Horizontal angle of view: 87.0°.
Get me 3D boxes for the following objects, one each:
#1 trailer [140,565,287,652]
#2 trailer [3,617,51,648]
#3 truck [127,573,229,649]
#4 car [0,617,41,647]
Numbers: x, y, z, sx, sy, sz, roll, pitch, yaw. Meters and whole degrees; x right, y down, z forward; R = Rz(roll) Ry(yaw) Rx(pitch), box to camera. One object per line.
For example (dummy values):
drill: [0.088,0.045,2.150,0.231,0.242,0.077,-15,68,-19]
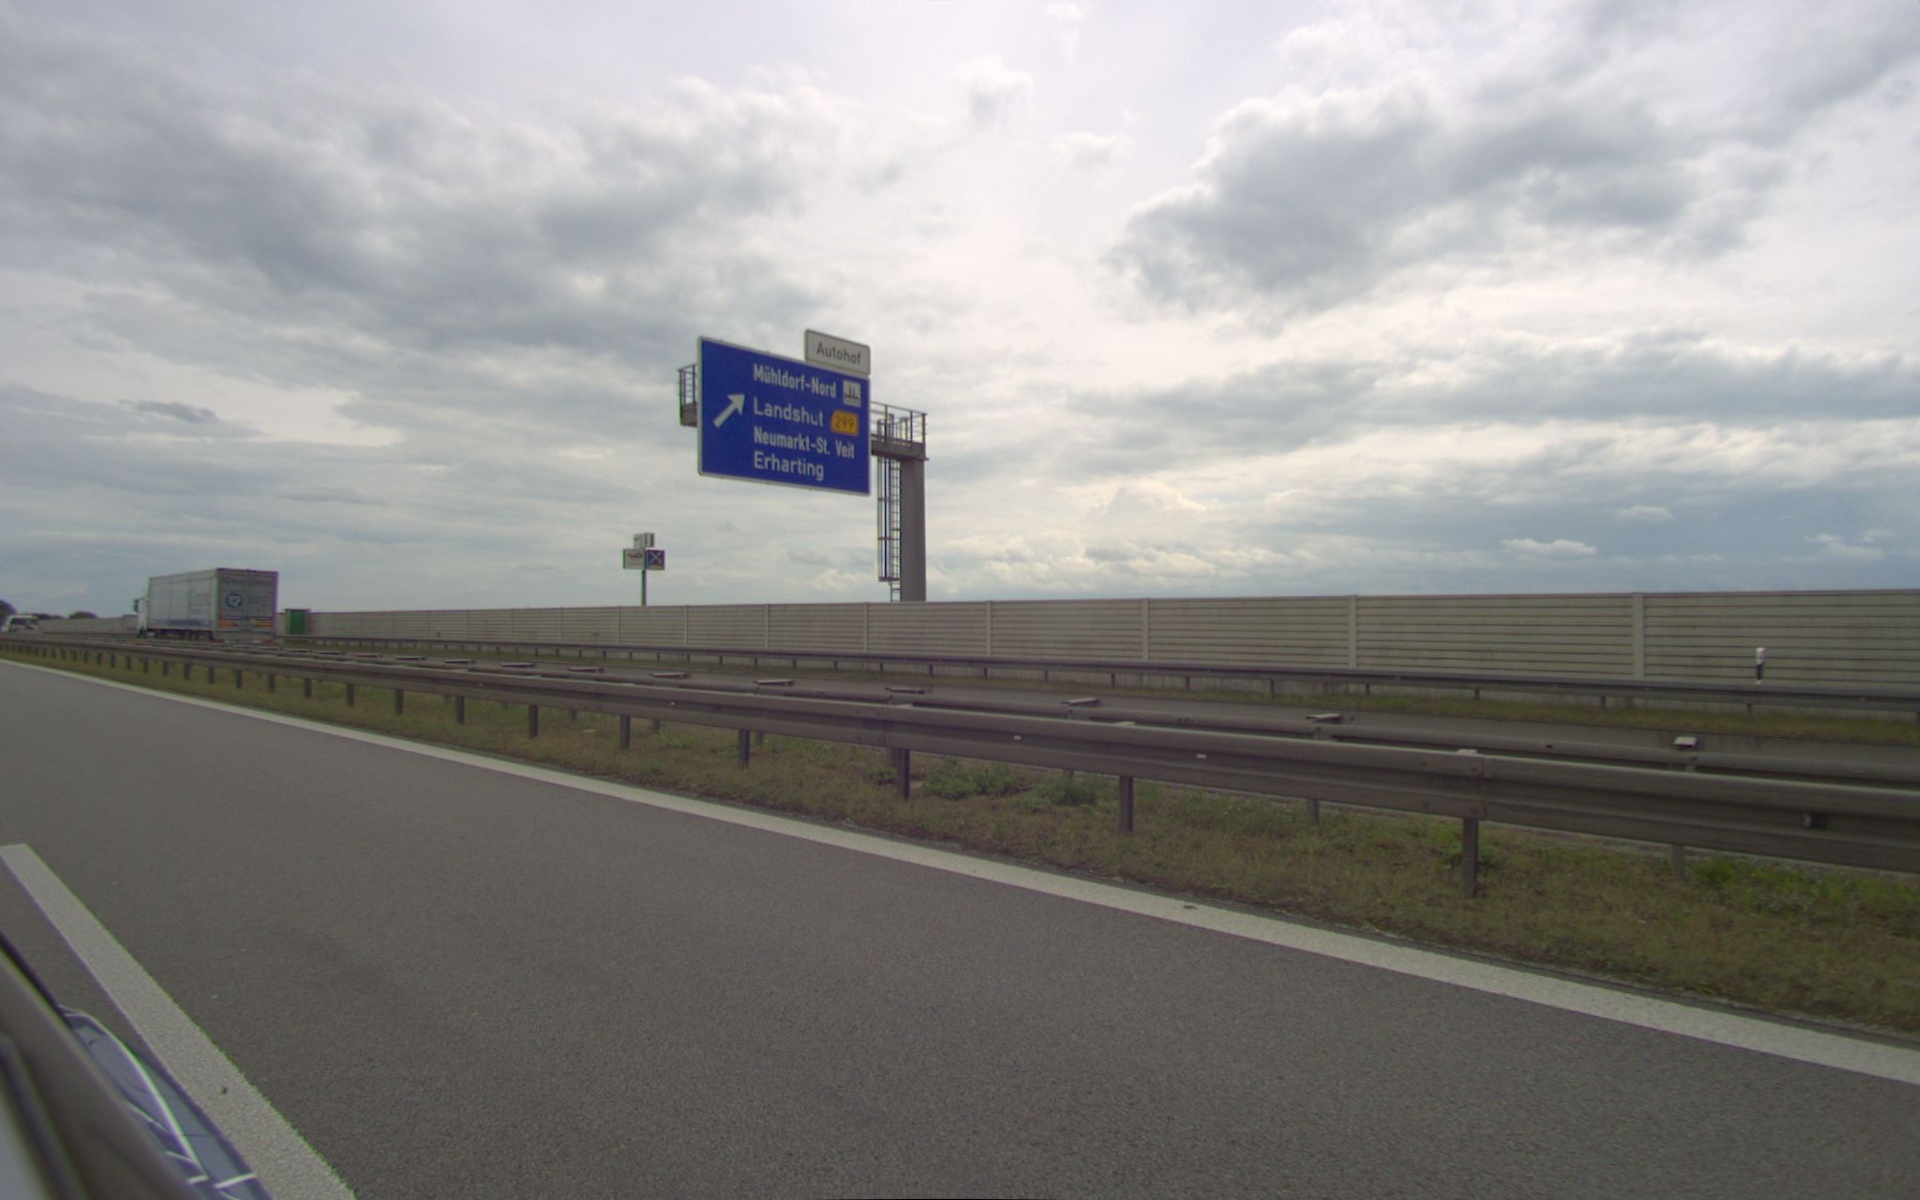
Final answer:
trailer: [-39.775,0.590,53.584,14.015,4.107,3.146,-1,-3,41]
trailer: [-61.972,2.154,67.177,3.861,1.860,1.796,-1,4,41]
truck: [-44.664,0.685,57.725,7.319,4.045,3.077,-1,-3,41]
car: [-65.012,2.200,69.816,4.178,1.860,1.796,-1,4,41]
